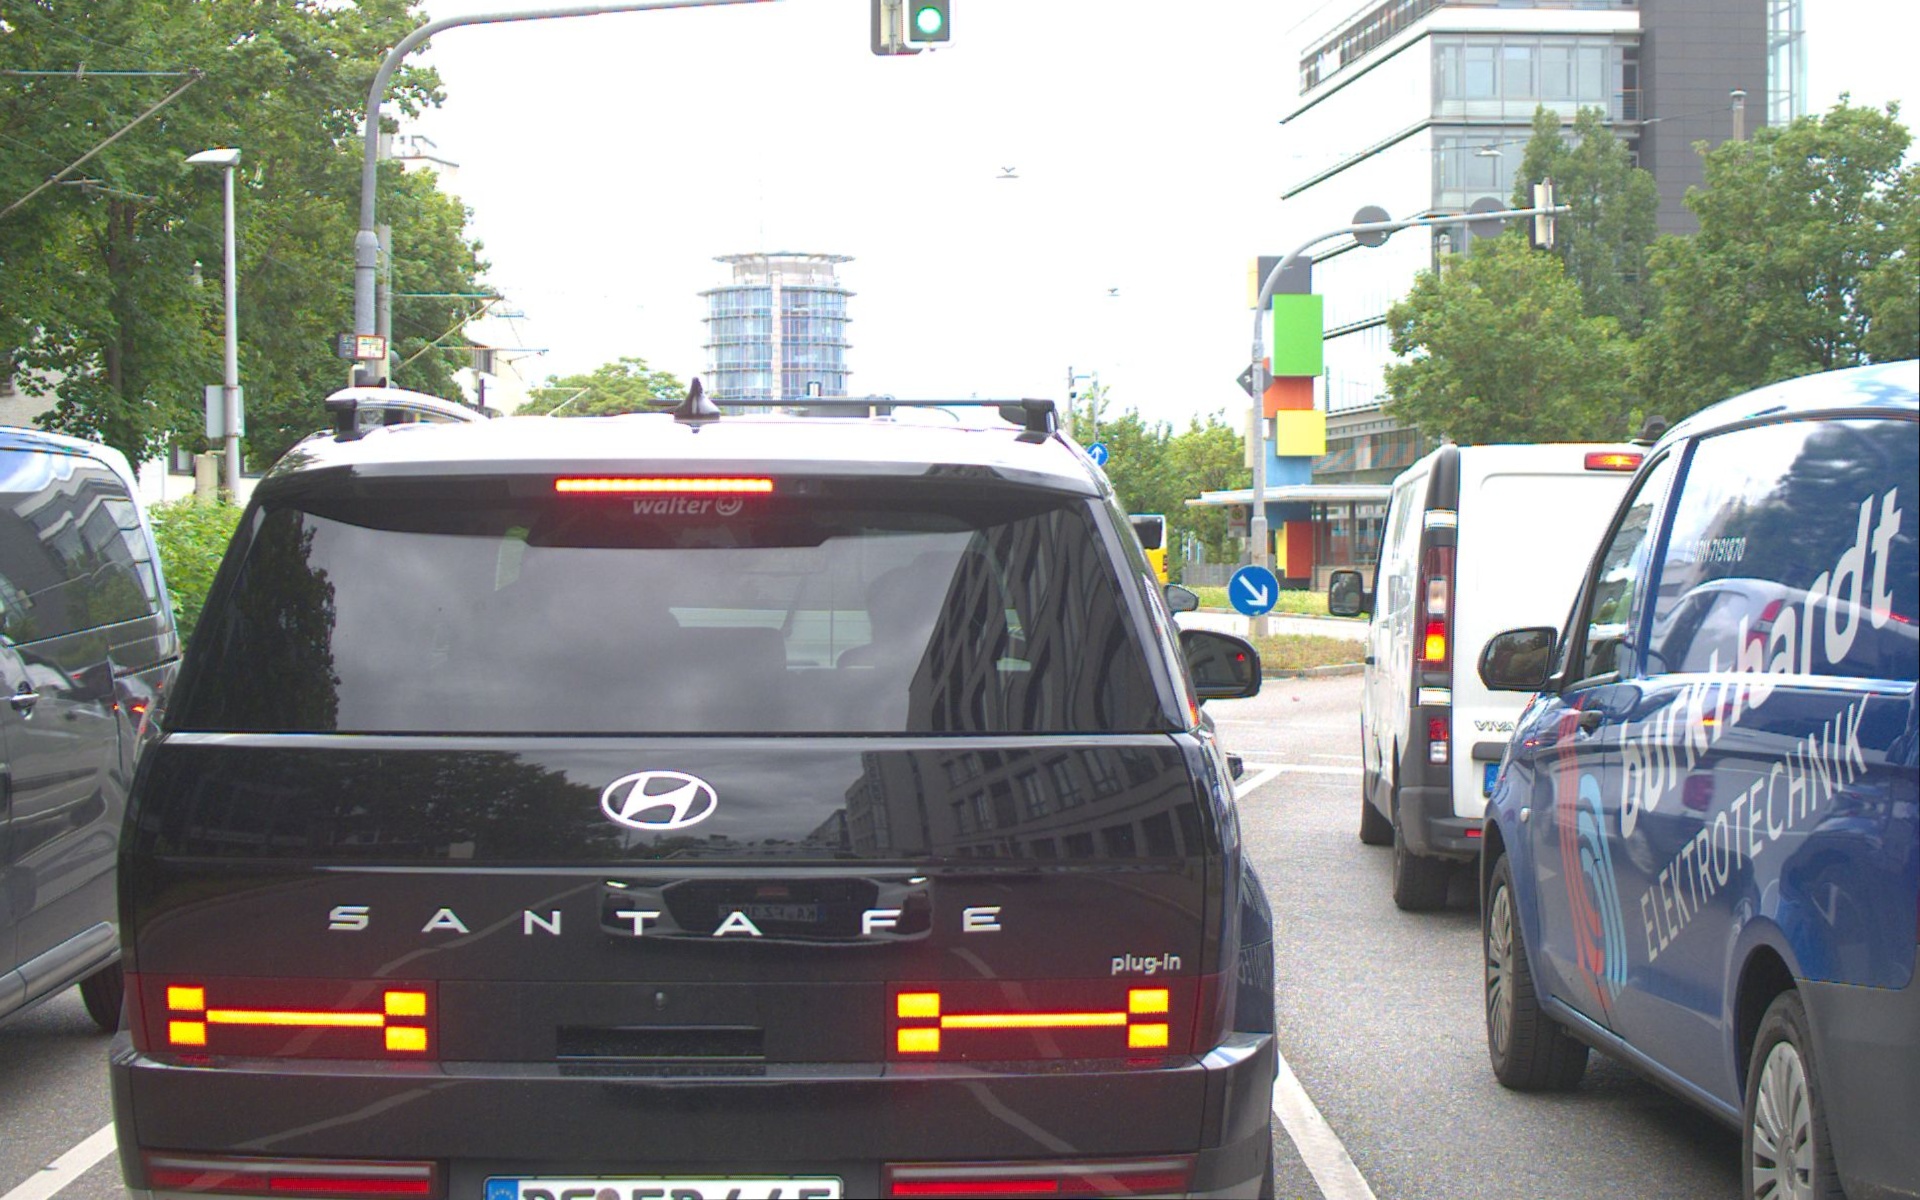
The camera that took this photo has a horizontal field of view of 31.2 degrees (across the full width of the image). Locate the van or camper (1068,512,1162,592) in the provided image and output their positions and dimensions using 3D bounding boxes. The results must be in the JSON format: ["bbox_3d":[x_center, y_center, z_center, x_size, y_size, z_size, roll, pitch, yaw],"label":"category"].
[{"bbox_3d":[5.169,-1.567,113.715,1.994,2.538,6.575,1,0,12],"label":"van or camper"}]

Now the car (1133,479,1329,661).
[{"bbox_3d":[3.109,-0.345,40.193,1.993,2.007,4.000,0,0,1],"label":"car"}]

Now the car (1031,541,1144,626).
[{"bbox_3d":[2.476,-0.324,67.527,1.993,1.612,4.000,0,0,-1],"label":"car"}]

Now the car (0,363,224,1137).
[{"bbox_3d":[-3.419,0.390,8.977,1.993,1.941,4.737,-1,0,-1],"label":"car"}]

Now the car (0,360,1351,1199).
[{"bbox_3d":[-0.417,0.518,6.654,1.869,1.754,3.880,0,1,-1],"label":"car"}]

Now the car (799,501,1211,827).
[{"bbox_3d":[0.385,0.320,20.389,1.776,1.711,4.337,1,0,10],"label":"car"}]

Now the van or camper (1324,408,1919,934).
[{"bbox_3d":[2.801,0.232,15.564,1.994,2.007,4.652,1,1,3],"label":"van or camper"}]

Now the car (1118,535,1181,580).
[{"bbox_3d":[7.259,-1.635,131.815,1.993,1.678,4.000,0,0,-3],"label":"car"}]

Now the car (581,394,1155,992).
[{"bbox_3d":[-0.329,0.278,13.446,1.915,1.996,3.880,0,1,-1],"label":"car"}]

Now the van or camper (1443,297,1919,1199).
[{"bbox_3d":[2.404,0.433,7.797,1.859,1.904,5.032,0,1,-1],"label":"van or camper"}]
